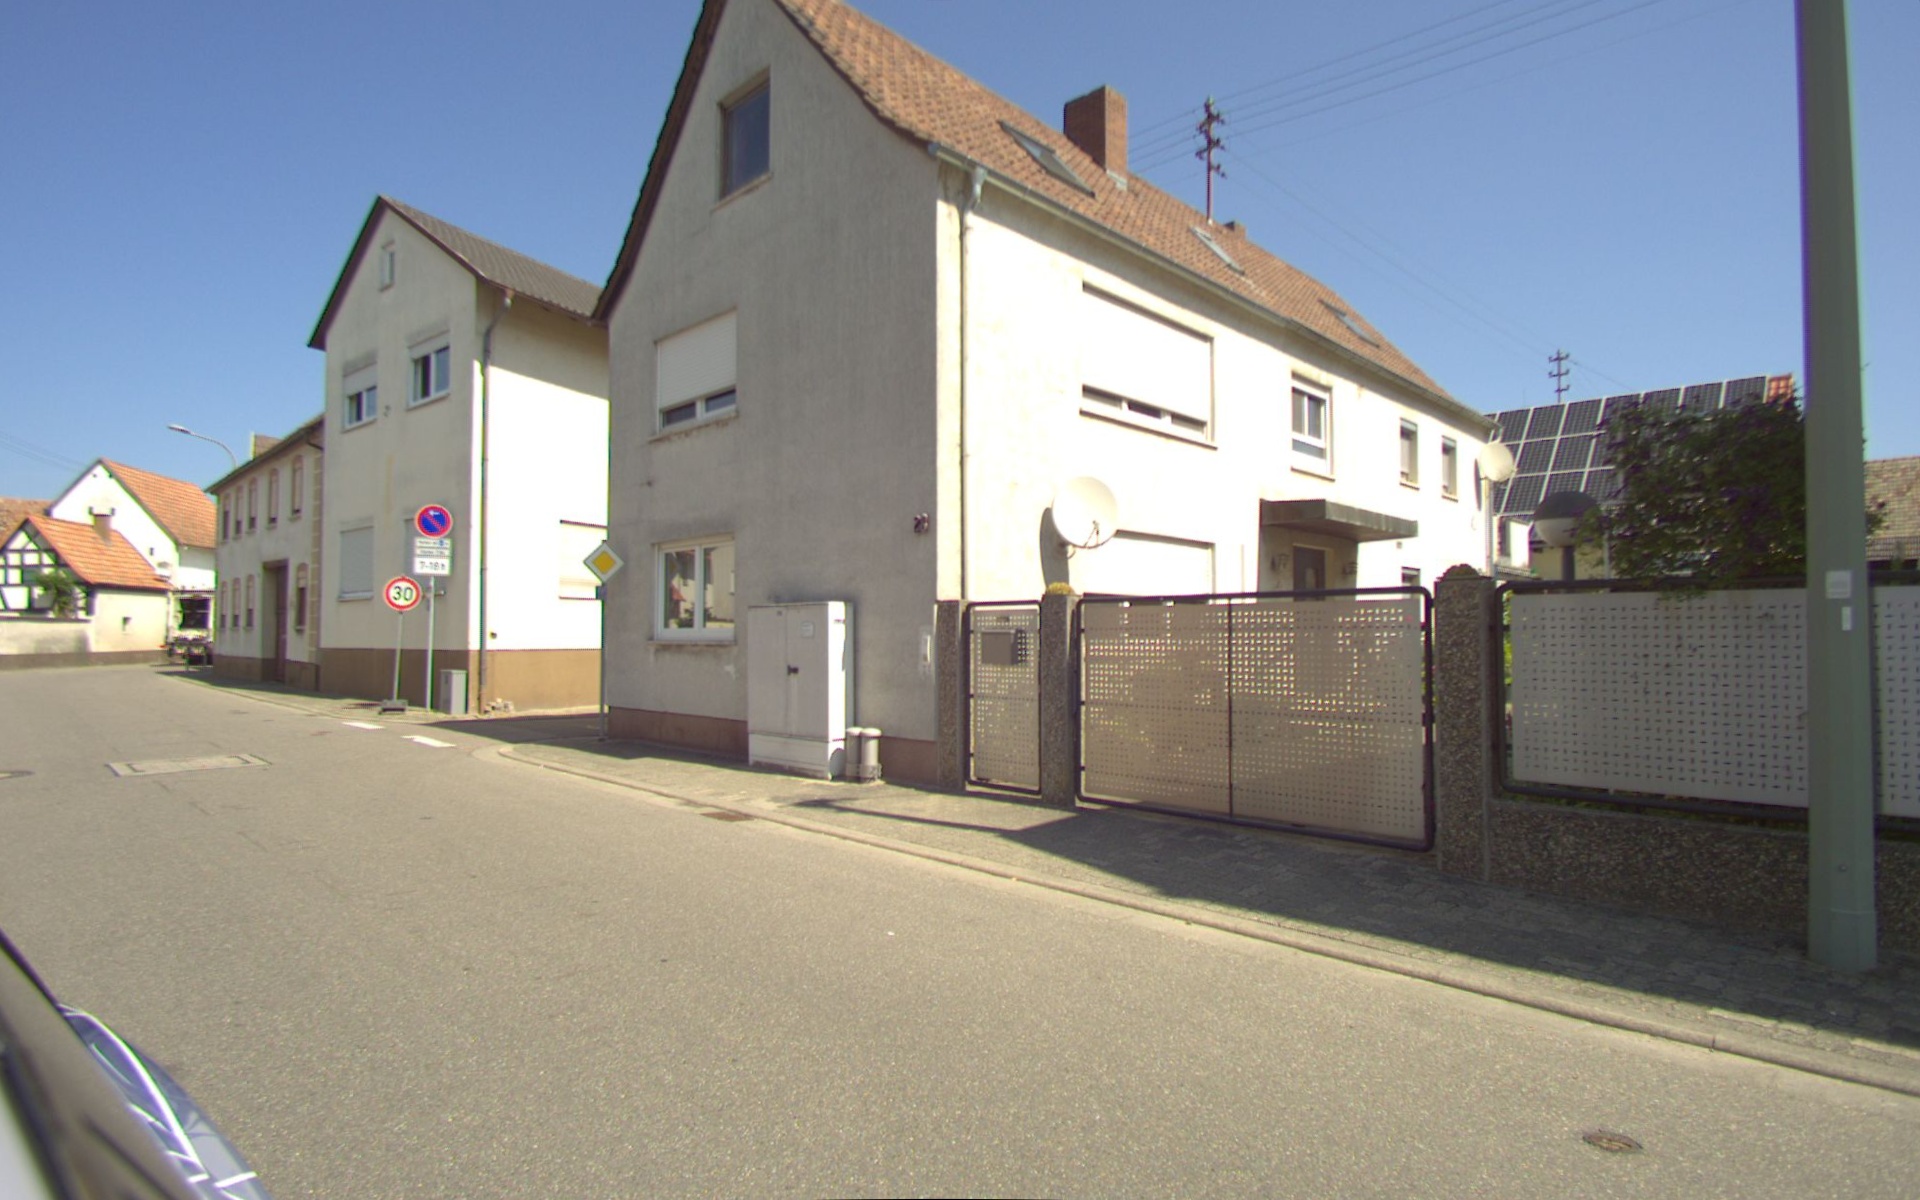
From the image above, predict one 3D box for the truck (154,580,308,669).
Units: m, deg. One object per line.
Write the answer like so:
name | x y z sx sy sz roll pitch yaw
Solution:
truck | -34.243 1.232 48.125 2.658 3.779 10.901 1 -2 -18
